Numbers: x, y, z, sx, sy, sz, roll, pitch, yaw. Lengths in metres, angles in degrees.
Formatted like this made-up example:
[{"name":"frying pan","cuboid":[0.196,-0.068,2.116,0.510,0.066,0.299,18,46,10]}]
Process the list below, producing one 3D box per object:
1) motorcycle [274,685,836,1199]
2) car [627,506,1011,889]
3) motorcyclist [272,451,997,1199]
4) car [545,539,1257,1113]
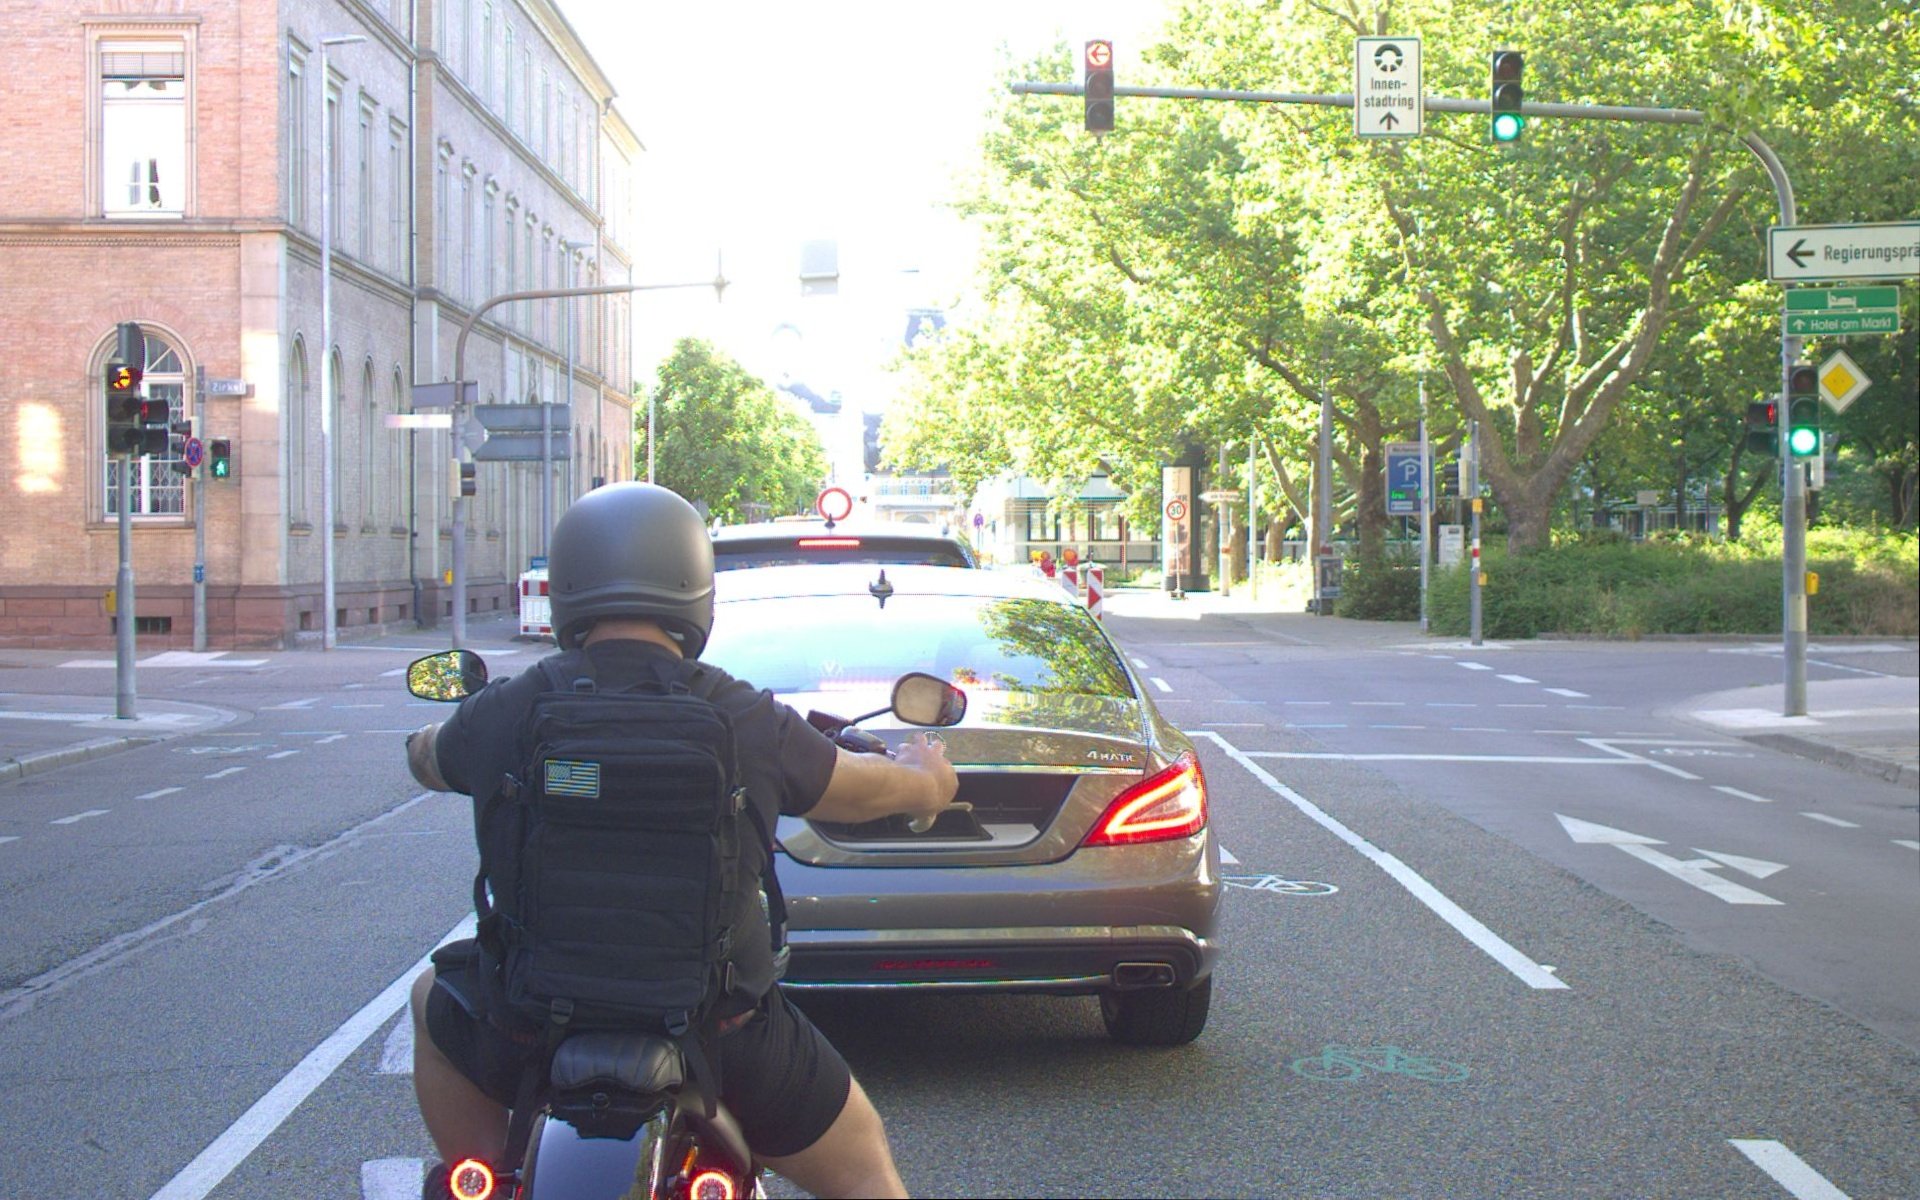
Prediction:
[{"name":"motorcycle","cuboid":[-0.558,0.791,5.423,0.660,1.236,2.058,1,1,-1]},{"name":"car","cuboid":[-0.635,0.406,16.973,1.651,1.646,4.000,1,1,-1]},{"name":"motorcyclist","cuboid":[-0.462,0.598,5.328,0.990,1.605,1.120,1,0,-1]},{"name":"car","cuboid":[-0.403,0.570,11.128,1.824,1.481,4.334,1,1,-7]}]
